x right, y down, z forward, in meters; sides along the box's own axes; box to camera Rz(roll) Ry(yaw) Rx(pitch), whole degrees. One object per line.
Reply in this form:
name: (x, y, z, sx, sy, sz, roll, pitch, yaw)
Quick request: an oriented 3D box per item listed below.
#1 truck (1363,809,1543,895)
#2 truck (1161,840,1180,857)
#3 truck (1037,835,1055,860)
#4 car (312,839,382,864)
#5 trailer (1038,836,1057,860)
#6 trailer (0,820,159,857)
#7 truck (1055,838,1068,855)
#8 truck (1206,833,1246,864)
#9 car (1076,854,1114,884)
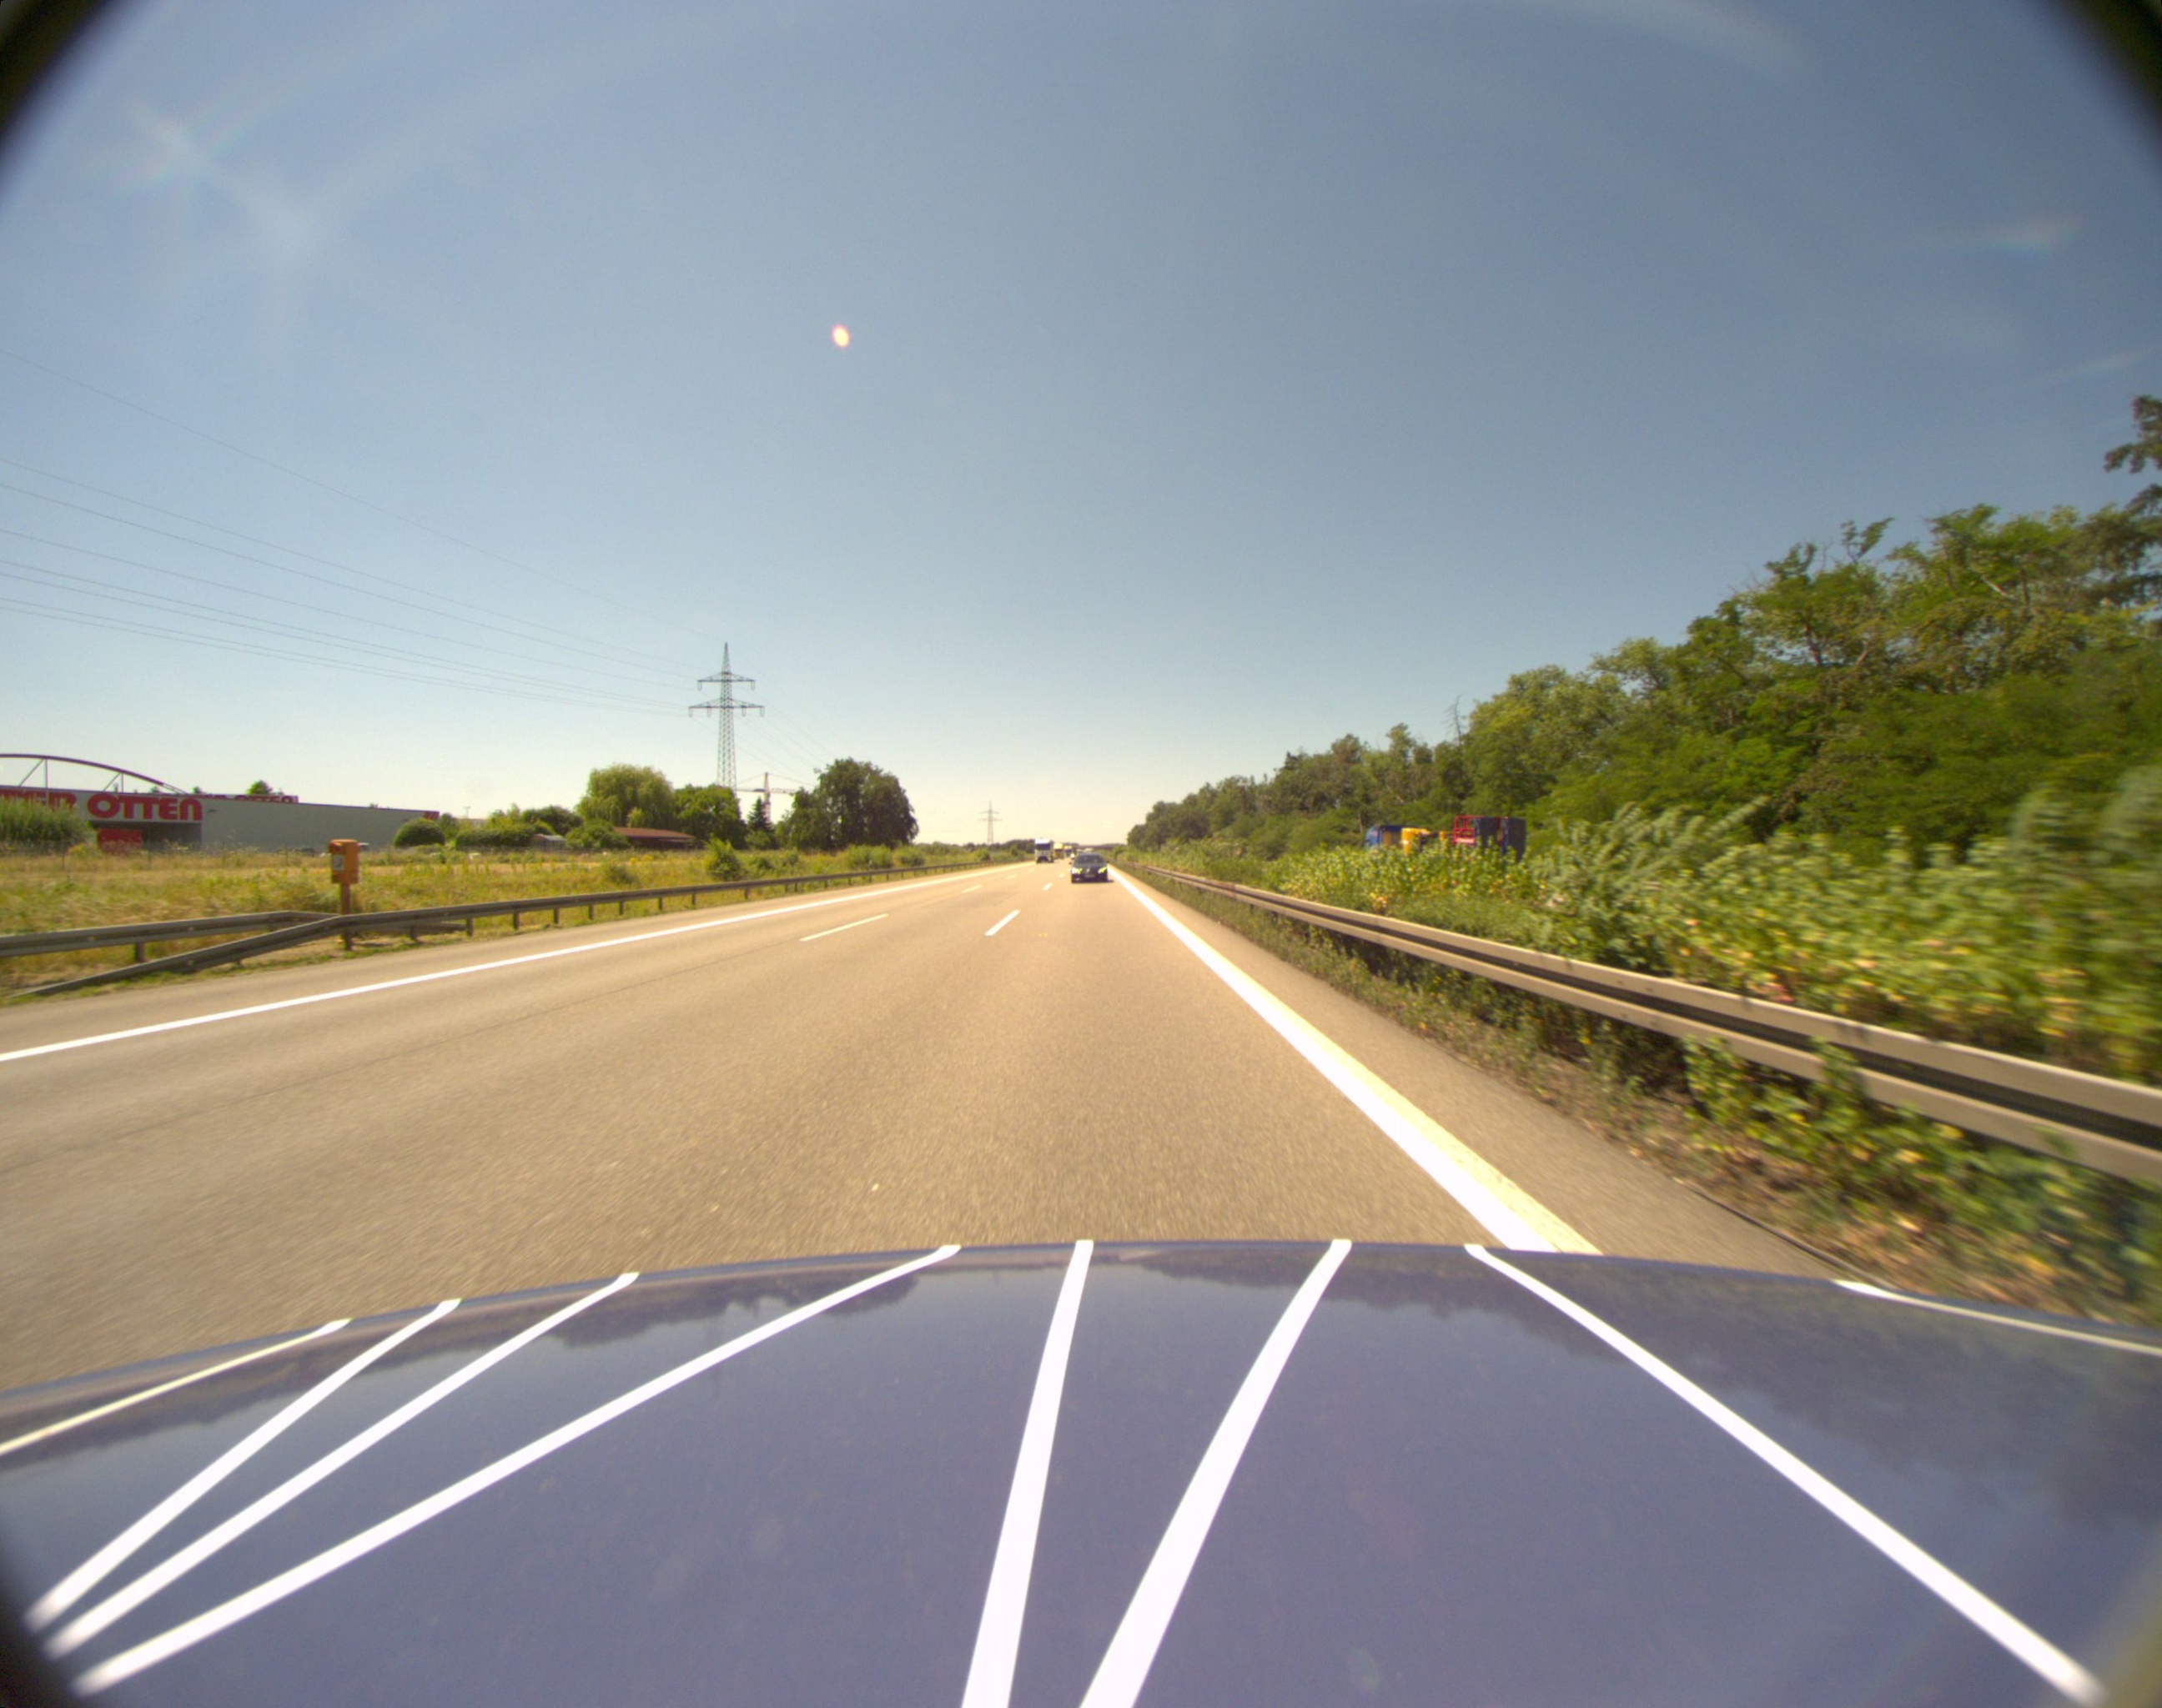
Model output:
truck: (17.109, -0.134, 36.361, 2.794, 3.413, 11.980, 1, 1, 1)
truck: (19.157, -1.220, 163.227, 2.544, 3.613, 11.843, 1, 1, 1)
truck: (-5.669, -1.022, 124.350, 2.573, 3.871, 5.722, -2, 1, 0)
car: (-64.216, -0.203, 66.498, 3.998, 2.002, 1.999, -2, 1, -3)
trailer: (-5.634, -1.082, 130.819, 2.573, 3.871, 13.278, -2, 1, 0)
trailer: (-68.689, -1.016, 51.924, 7.925, 2.368, 2.980, 1, 1, 2)
truck: (-4.926, -2.061, 197.070, 2.978, 4.240, 12.609, 0, 1, 0)
truck: (18.195, -0.682, 96.225, 2.907, 3.684, 11.898, 1, 0, 1)
car: (0.669, 0.728, 38.950, 1.808, 1.385, 3.999, -2, 1, 0)
